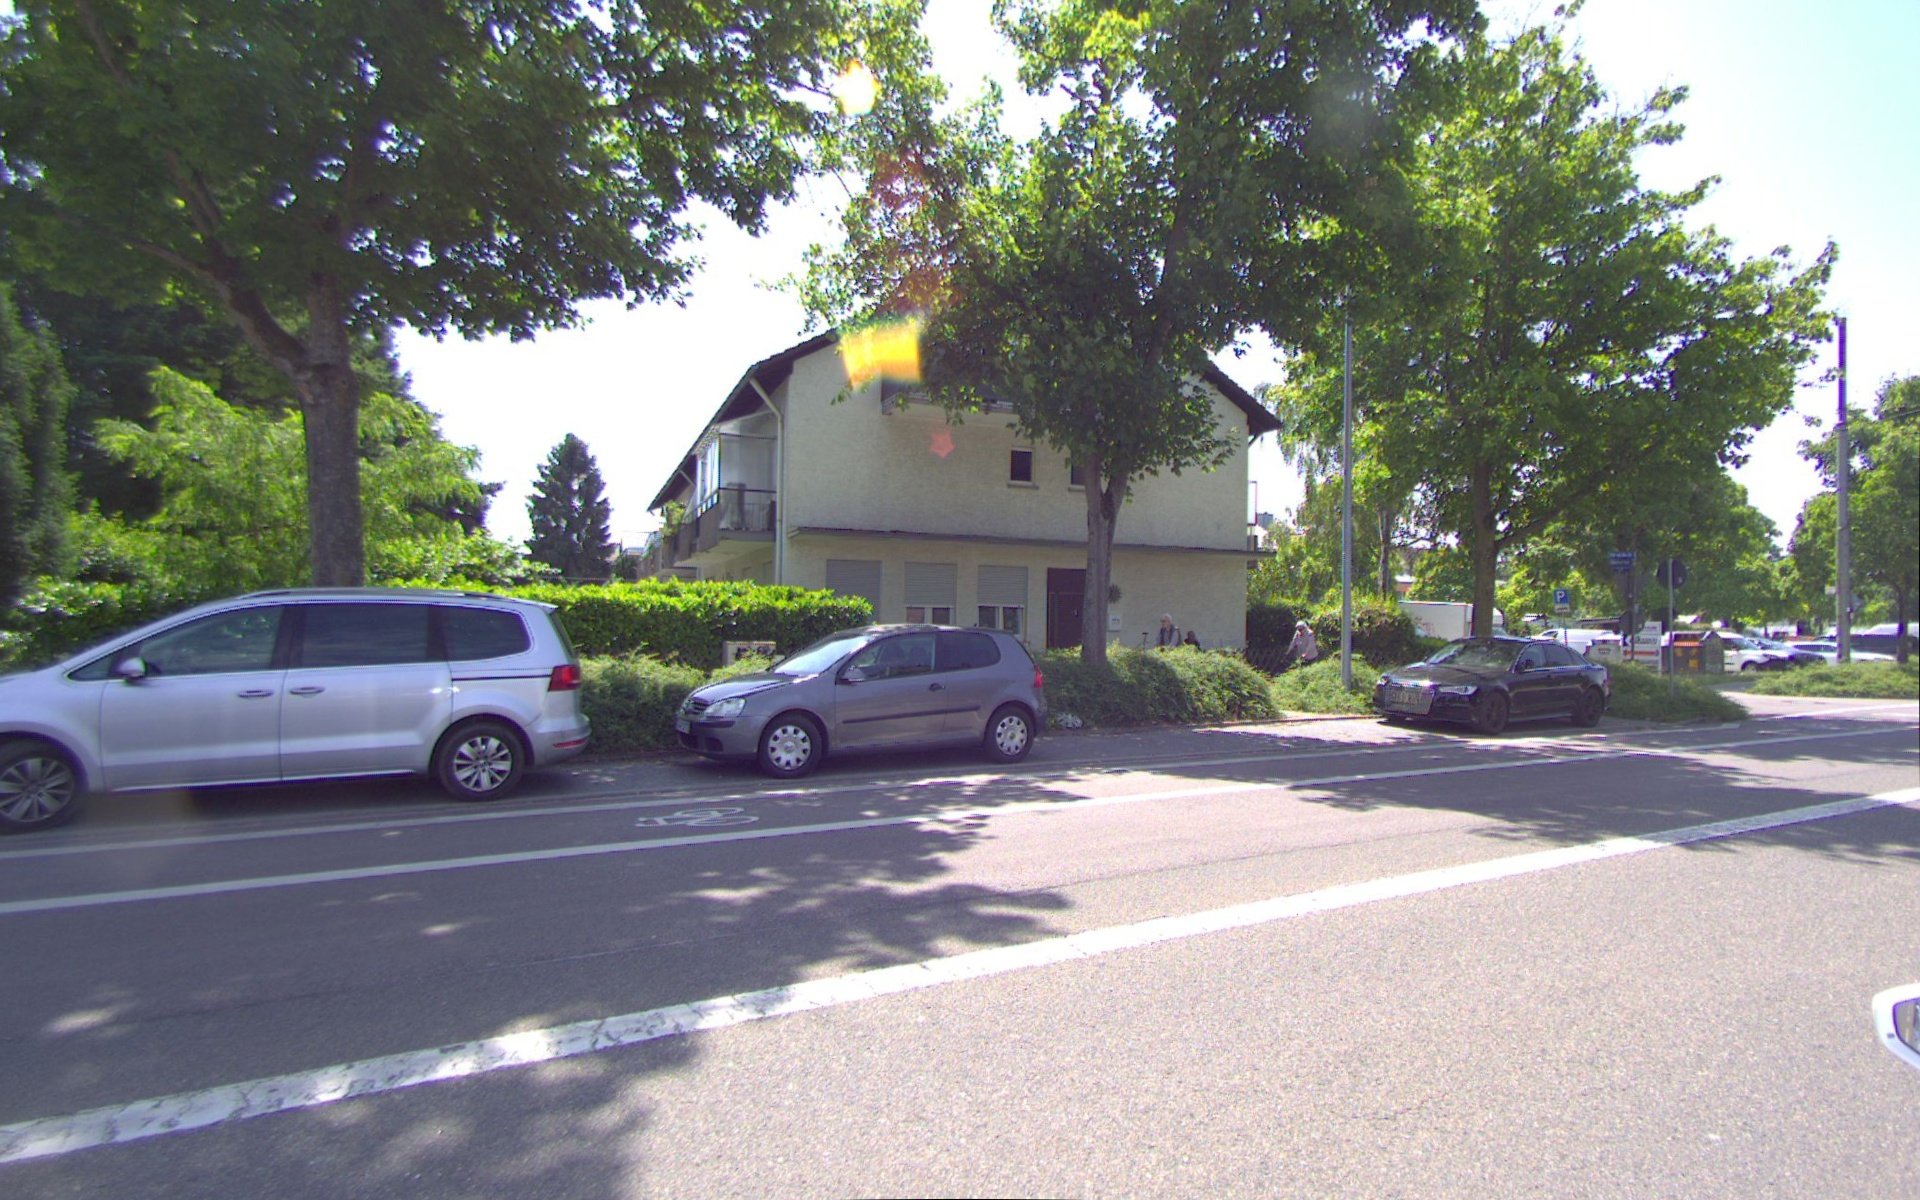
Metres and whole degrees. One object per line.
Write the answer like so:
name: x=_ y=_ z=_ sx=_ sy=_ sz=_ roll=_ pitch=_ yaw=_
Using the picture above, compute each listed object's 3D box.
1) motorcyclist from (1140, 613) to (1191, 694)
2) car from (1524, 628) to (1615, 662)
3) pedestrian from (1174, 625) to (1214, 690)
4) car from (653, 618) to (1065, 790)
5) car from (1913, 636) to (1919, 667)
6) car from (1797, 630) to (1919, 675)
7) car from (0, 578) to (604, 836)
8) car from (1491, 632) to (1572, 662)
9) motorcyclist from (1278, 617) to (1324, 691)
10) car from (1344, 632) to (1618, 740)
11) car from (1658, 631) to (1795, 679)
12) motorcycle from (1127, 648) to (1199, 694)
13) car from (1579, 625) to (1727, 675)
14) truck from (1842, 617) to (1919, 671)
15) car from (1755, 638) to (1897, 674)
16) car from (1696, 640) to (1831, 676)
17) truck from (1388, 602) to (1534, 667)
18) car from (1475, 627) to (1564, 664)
motorcyclist: x=4.010 y=1.036 z=19.622 sx=0.716 sy=1.523 sz=0.583 roll=1 pitch=2 yaw=-29
car: x=35.566 y=2.614 z=58.676 sx=1.948 sy=1.844 sz=4.108 roll=2 pitch=-1 yaw=-30
pedestrian: x=5.626 y=1.369 z=24.188 sx=0.599 sy=1.530 sz=0.792 roll=1 pitch=-1 yaw=-23
car: x=-1.021 y=0.994 z=10.784 sx=4.080 sy=1.506 sz=1.668 roll=2 pitch=0 yaw=-31
car: x=57.233 y=2.997 z=57.039 sx=1.835 sy=1.789 sz=4.189 roll=2 pitch=-2 yaw=-31
car: x=43.573 y=2.518 z=48.761 sx=1.835 sy=2.021 sz=4.189 roll=1 pitch=-2 yaw=-31
car: x=-5.524 y=0.743 z=8.273 sx=4.630 sy=1.711 sz=1.962 roll=2 pitch=0 yaw=-29
car: x=33.020 y=2.682 z=58.126 sx=1.712 sy=1.597 sz=3.729 roll=1 pitch=-1 yaw=-30
motorcyclist: x=7.275 y=1.143 z=21.459 sx=0.654 sy=1.523 sz=0.583 roll=1 pitch=2 yaw=-29
car: x=8.638 y=1.323 z=16.512 sx=4.758 sy=1.476 sz=1.883 roll=2 pitch=0 yaw=-33
car: x=31.802 y=2.234 z=41.802 sx=1.652 sy=1.860 sz=4.251 roll=1 pitch=-2 yaw=-27
motorcycle: x=3.963 y=1.368 z=19.603 sx=1.354 sy=0.837 sz=0.523 roll=1 pitch=2 yaw=-29
car: x=27.501 y=1.943 z=40.002 sx=2.039 sy=1.881 sz=4.421 roll=2 pitch=-2 yaw=-33
truck: x=50.366 y=2.292 z=52.800 sx=2.402 sy=2.796 sz=5.556 roll=1 pitch=-2 yaw=-28
car: x=41.045 y=2.618 z=47.748 sx=2.035 sy=1.508 sz=4.738 roll=2 pitch=-2 yaw=-31
car: x=34.584 y=2.464 z=43.326 sx=2.059 sy=1.422 sz=4.171 roll=2 pitch=-2 yaw=-33
truck: x=26.701 y=1.770 z=53.907 sx=2.126 sy=3.270 sz=6.941 roll=1 pitch=-1 yaw=-31
car: x=31.119 y=2.503 z=55.974 sx=1.628 sy=1.845 sz=4.108 roll=1 pitch=-1 yaw=-30
